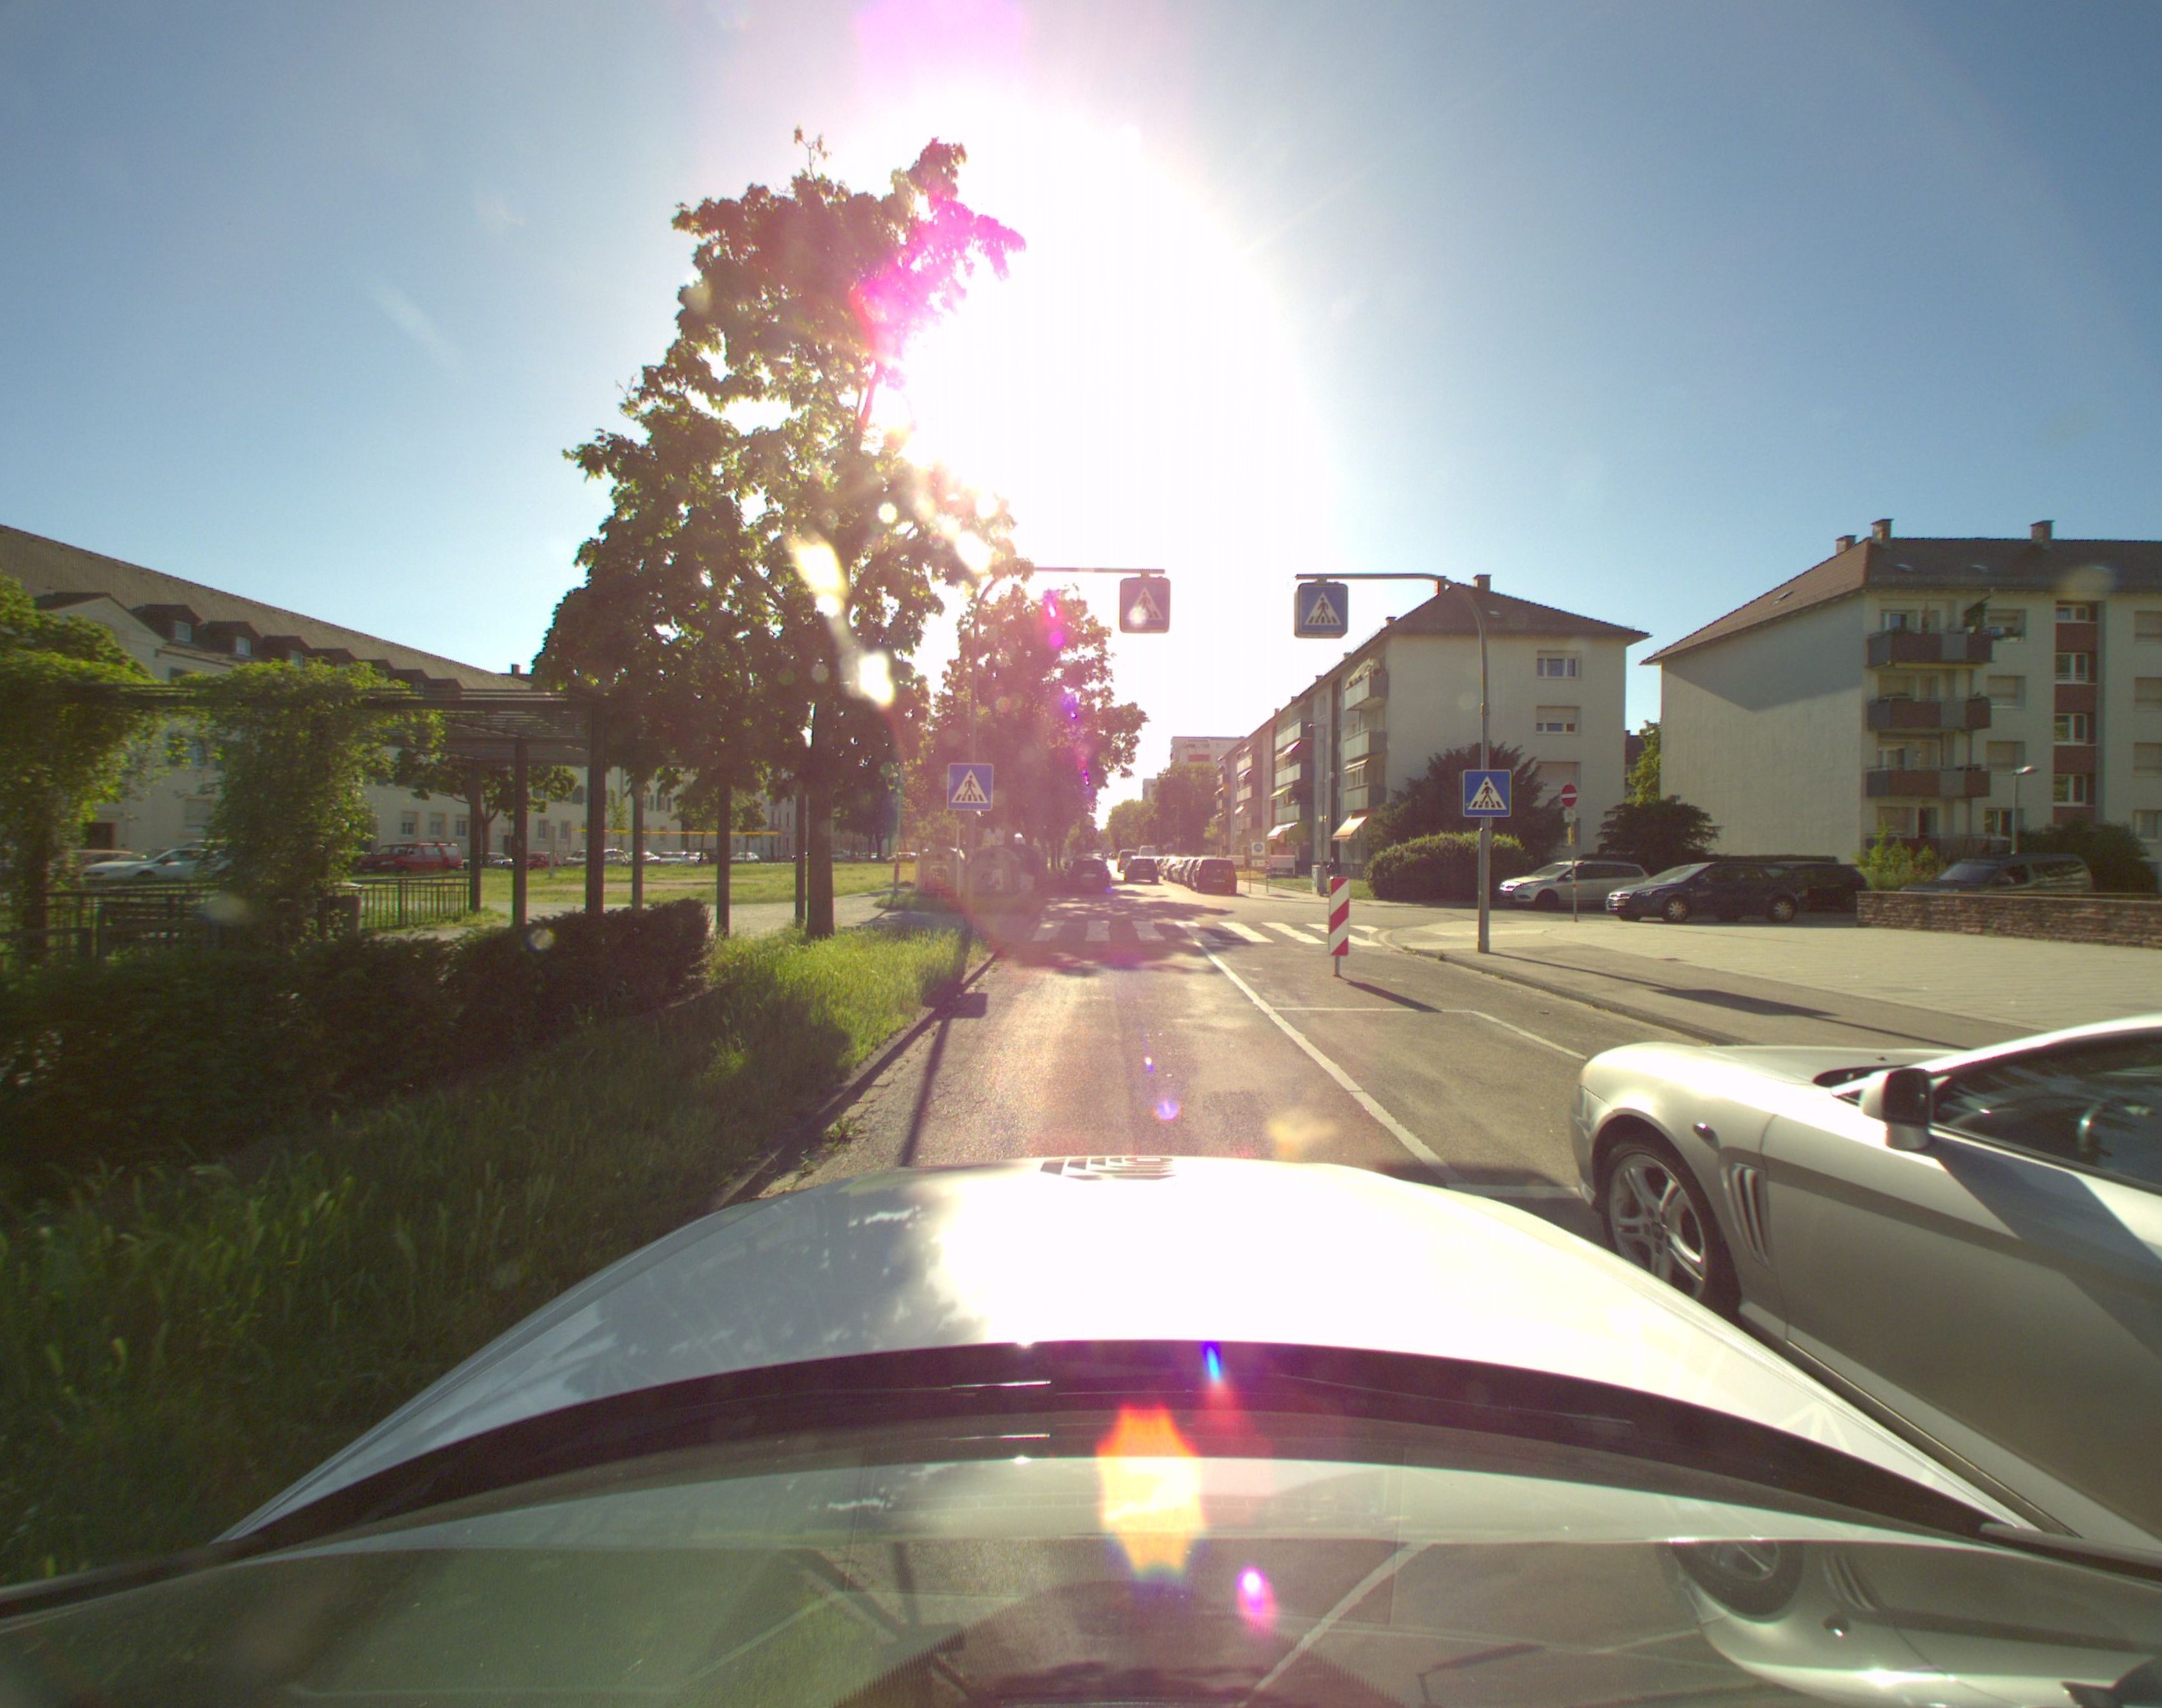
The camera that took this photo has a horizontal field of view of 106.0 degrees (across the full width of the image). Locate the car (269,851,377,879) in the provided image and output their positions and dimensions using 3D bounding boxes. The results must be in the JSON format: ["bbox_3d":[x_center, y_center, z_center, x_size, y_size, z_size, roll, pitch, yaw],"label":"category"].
[{"bbox_3d":[-39.698,0.561,42.783,1.787,1.384,4.002,1,0,2],"label":"car"}]

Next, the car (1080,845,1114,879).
[{"bbox_3d":[1.006,0.456,50.266,1.986,2.013,4.002,0,0,2],"label":"car"}]

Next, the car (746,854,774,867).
[{"bbox_3d":[-39.337,0.751,99.934,1.787,1.510,4.002,1,0,2],"label":"car"}]

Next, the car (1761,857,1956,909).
[{"bbox_3d":[24.266,0.898,25.517,4.467,1.540,1.799,1,-2,-2],"label":"car"}]

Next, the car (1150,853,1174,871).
[{"bbox_3d":[6.915,0.646,70.075,1.787,1.510,4.002,1,0,2],"label":"car"}]

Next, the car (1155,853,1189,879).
[{"bbox_3d":[5.625,0.709,50.841,1.787,1.510,4.002,1,0,2],"label":"car"}]

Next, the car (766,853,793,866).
[{"bbox_3d":[-38.863,0.699,104.956,1.787,1.510,4.146,1,0,2],"label":"car"}]

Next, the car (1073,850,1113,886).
[{"bbox_3d":[0.622,0.641,39.667,1.787,1.624,4.002,1,0,2],"label":"car"}]

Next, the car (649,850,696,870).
[{"bbox_3d":[-33.579,0.480,67.045,1.787,1.510,4.002,1,0,2],"label":"car"}]

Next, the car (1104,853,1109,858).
[{"bbox_3d":[8.095,0.595,259.968,1.787,1.510,4.002,0,0,2],"label":"car"}]

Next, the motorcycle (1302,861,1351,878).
[{"bbox_3d":[14.116,0.892,46.857,2.551,0.935,0.830,1,0,-2],"label":"motorcycle"}]

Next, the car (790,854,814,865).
[{"bbox_3d":[-38.112,0.713,111.344,1.788,1.510,4.001,1,0,1],"label":"car"}]

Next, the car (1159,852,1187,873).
[{"bbox_3d":[6.993,0.644,62.324,1.787,1.510,4.002,1,0,2],"label":"car"}]

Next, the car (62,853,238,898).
[{"bbox_3d":[-34.157,0.735,30.056,1.787,1.510,4.002,1,0,2],"label":"car"}]

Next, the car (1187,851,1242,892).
[{"bbox_3d":[5.608,0.689,34.692,1.787,1.601,4.002,1,0,2],"label":"car"}]

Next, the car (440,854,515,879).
[{"bbox_3d":[-39.196,0.782,52.983,1.787,1.510,4.002,1,0,2],"label":"car"}]

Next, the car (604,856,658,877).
[{"bbox_3d":[-33.941,0.897,61.557,1.787,1.510,4.002,1,0,2],"label":"car"}]

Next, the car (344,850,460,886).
[{"bbox_3d":[-34.130,0.666,41.126,1.787,1.710,4.704,1,0,2],"label":"car"}]

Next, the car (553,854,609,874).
[{"bbox_3d":[-39.200,0.782,63.950,1.787,1.510,4.002,1,0,2],"label":"car"}]

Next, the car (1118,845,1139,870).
[{"bbox_3d":[4.204,0.309,72.276,1.787,2.122,4.002,1,0,2],"label":"car"}]

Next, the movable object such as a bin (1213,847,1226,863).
[{"bbox_3d":[13.885,0.107,81.738,1.087,1.510,2.003,1,0,2],"label":"movable object such as a bin"}]

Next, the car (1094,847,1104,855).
[{"bbox_3d":[3.477,-0.567,157.548,1.787,1.510,4.002,0,0,2],"label":"car"}]

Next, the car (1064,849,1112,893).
[{"bbox_3d":[0.330,0.640,32.699,1.787,1.624,4.002,1,0,2],"label":"car"}]

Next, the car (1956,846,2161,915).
[{"bbox_3d":[27.746,0.742,22.874,4.467,1.822,1.799,1,-2,-2],"label":"car"}]

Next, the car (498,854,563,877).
[{"bbox_3d":[-39.228,0.803,58.177,1.787,1.510,4.002,1,0,2],"label":"car"}]

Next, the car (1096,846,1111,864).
[{"bbox_3d":[3.323,0.119,119.100,1.986,2.430,4.502,2,0,2],"label":"car"}]

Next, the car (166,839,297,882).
[{"bbox_3d":[-39.418,0.286,37.936,1.787,1.909,4.002,1,0,2],"label":"car"}]

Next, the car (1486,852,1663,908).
[{"bbox_3d":[15.281,0.811,25.359,4.467,1.622,1.799,1,-2,-2],"label":"car"}]

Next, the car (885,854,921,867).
[{"bbox_3d":[-21.418,0.794,98.265,3.977,1.510,1.799,1,0,-3],"label":"car"}]

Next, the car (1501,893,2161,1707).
[{"bbox_3d":[2.708,0.842,1.576,1.758,1.319,4.169,2,0,2],"label":"car"}]

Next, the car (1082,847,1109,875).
[{"bbox_3d":[1.123,0.506,61.530,1.986,2.013,4.002,0,0,2],"label":"car"}]

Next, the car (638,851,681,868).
[{"bbox_3d":[-39.109,0.496,75.665,1.787,1.510,4.002,1,0,2],"label":"car"}]

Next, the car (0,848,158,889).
[{"bbox_3d":[-39.543,0.534,32.042,1.787,1.510,4.002,1,0,2],"label":"car"}]

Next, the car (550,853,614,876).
[{"bbox_3d":[-34.400,0.666,56.280,1.787,1.510,4.002,1,0,2],"label":"car"}]

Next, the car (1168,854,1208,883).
[{"bbox_3d":[5.822,0.762,44.753,1.787,1.510,4.002,1,0,2],"label":"car"}]

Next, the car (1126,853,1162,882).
[{"bbox_3d":[3.430,0.718,45.078,1.787,1.510,4.002,1,0,2],"label":"car"}]

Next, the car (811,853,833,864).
[{"bbox_3d":[-38.504,0.632,121.175,1.787,1.510,4.002,1,0,2],"label":"car"}]

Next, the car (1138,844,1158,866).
[{"bbox_3d":[7.627,0.087,93.122,1.986,2.430,4.502,2,0,2],"label":"car"}]
